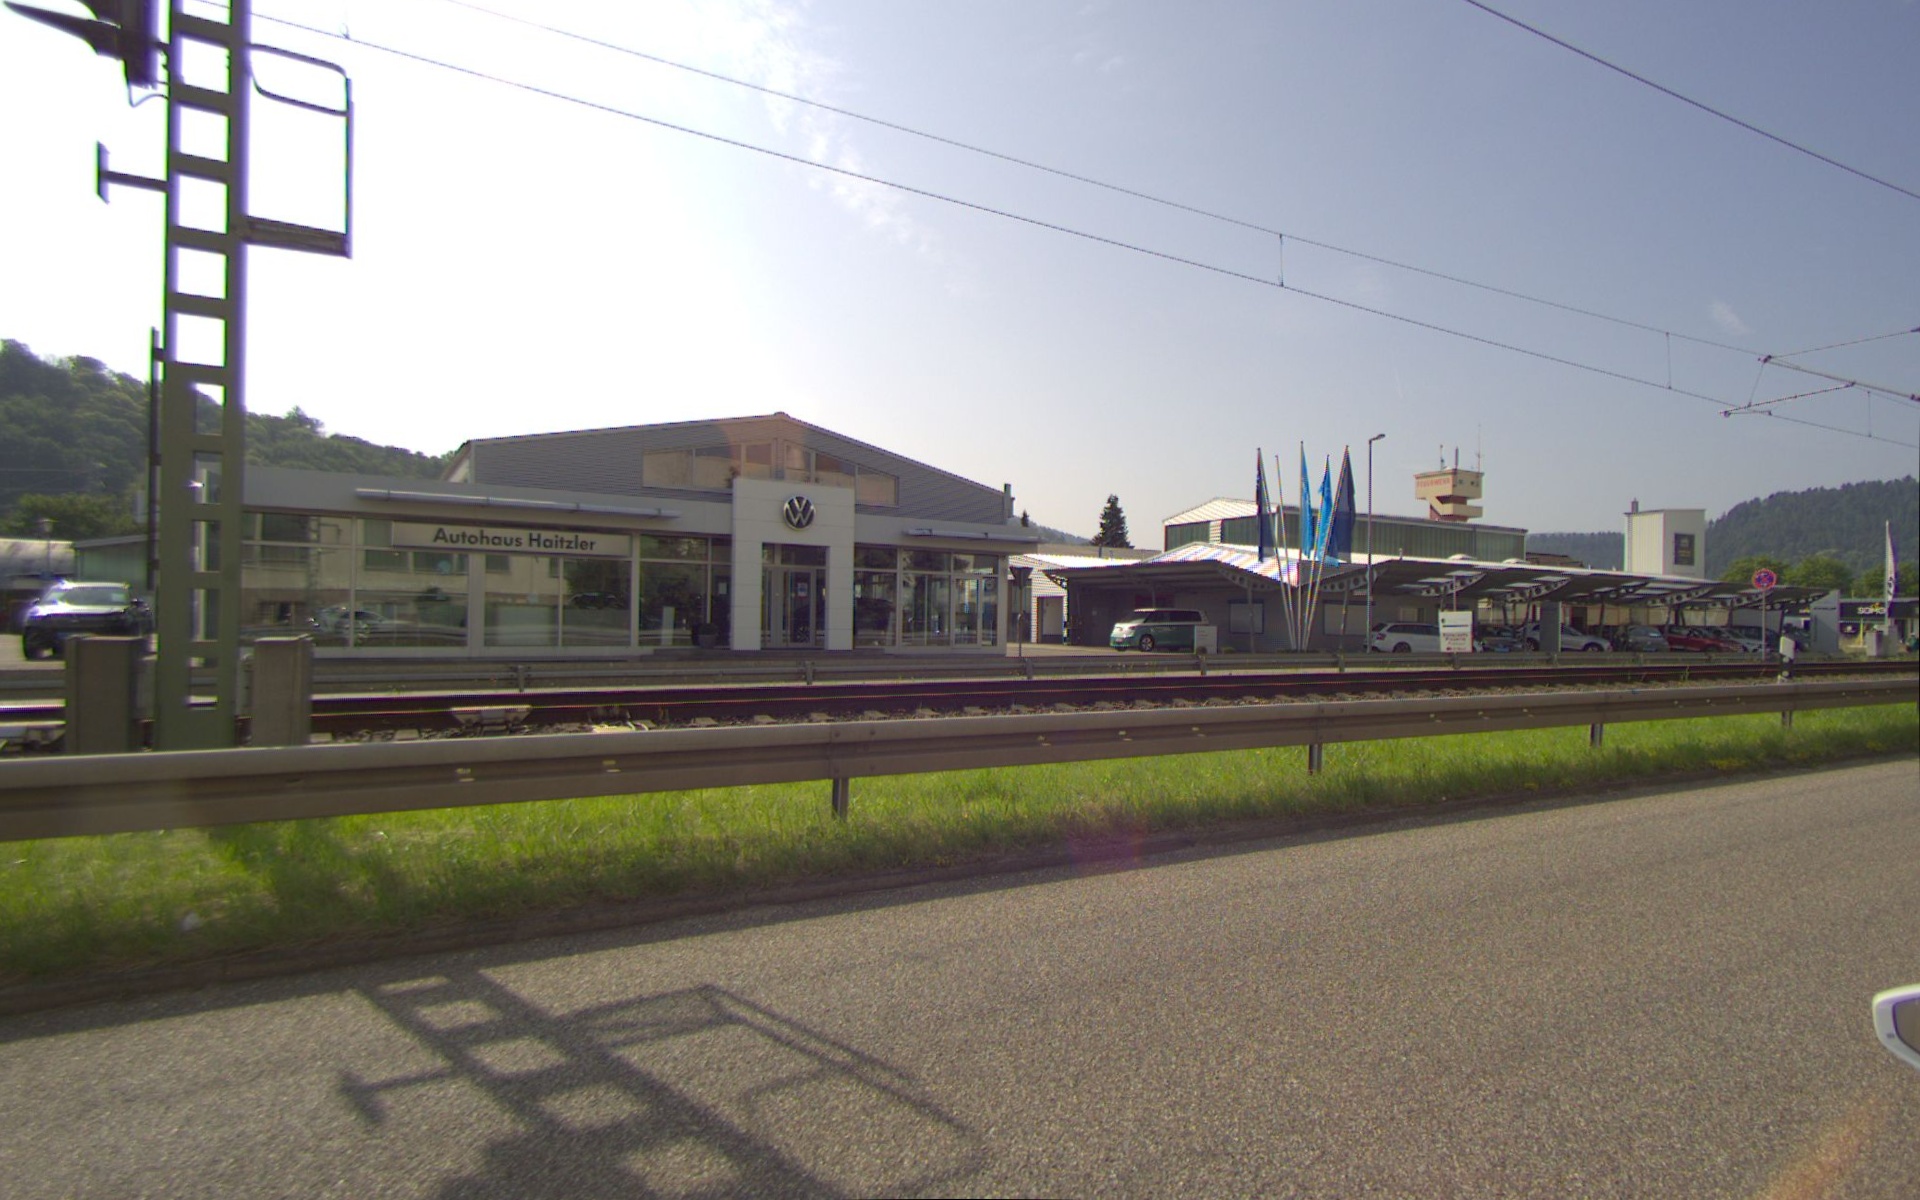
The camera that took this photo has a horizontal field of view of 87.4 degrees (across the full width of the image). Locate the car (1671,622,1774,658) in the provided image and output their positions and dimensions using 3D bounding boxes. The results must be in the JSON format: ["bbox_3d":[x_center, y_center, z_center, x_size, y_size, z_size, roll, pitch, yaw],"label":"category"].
[{"bbox_3d":[39.922,2.090,52.685,1.643,1.548,3.938,2,2,-29],"label":"car"}]

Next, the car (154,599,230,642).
[{"bbox_3d":[-26.292,0.693,34.495,1.842,1.393,3.962,1,-1,-34],"label":"car"}]

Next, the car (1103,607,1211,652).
[{"bbox_3d":[8.668,1.295,44.080,4.498,1.882,1.890,2,-1,-29],"label":"car"}]

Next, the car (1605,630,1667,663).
[{"bbox_3d":[33.341,2.257,49.634,1.812,1.525,4.432,1,-1,24],"label":"car"}]

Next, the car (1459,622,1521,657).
[{"bbox_3d":[22.963,1.676,43.651,1.811,1.360,4.208,1,-1,21],"label":"car"}]

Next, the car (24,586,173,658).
[{"bbox_3d":[-19.504,0.489,22.931,1.839,1.479,3.968,1,-1,-30],"label":"car"}]

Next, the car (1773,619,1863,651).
[{"bbox_3d":[53.461,2.139,62.655,3.927,1.550,1.521,6,2,28],"label":"car"}]

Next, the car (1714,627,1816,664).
[{"bbox_3d":[44.050,2.472,55.068,3.950,1.644,1.663,3,2,15],"label":"car"}]

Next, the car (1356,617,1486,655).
[{"bbox_3d":[18.710,1.458,40.885,4.433,1.404,1.848,1,-1,2],"label":"car"}]

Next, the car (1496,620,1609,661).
[{"bbox_3d":[27.310,1.850,46.488,4.188,1.548,1.846,3,2,22],"label":"car"}]

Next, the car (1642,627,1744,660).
[{"bbox_3d":[37.503,2.204,51.485,1.484,1.343,3.938,2,2,-29],"label":"car"}]

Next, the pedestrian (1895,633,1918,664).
[{"bbox_3d":[54.814,2.818,58.171,0.825,1.757,0.798,1,-1,-29],"label":"pedestrian"}]

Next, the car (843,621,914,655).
[{"bbox_3d":[-3.774,1.704,45.925,1.601,1.439,3.966,1,-1,-31],"label":"car"}]

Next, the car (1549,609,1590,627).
[{"bbox_3d":[46.669,1.368,76.903,3.452,1.315,1.443,1,-1,-35],"label":"car"}]

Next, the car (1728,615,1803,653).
[{"bbox_3d":[62.157,2.633,77.475,6.087,2.667,2.362,4,-2,-29],"label":"car"}]
